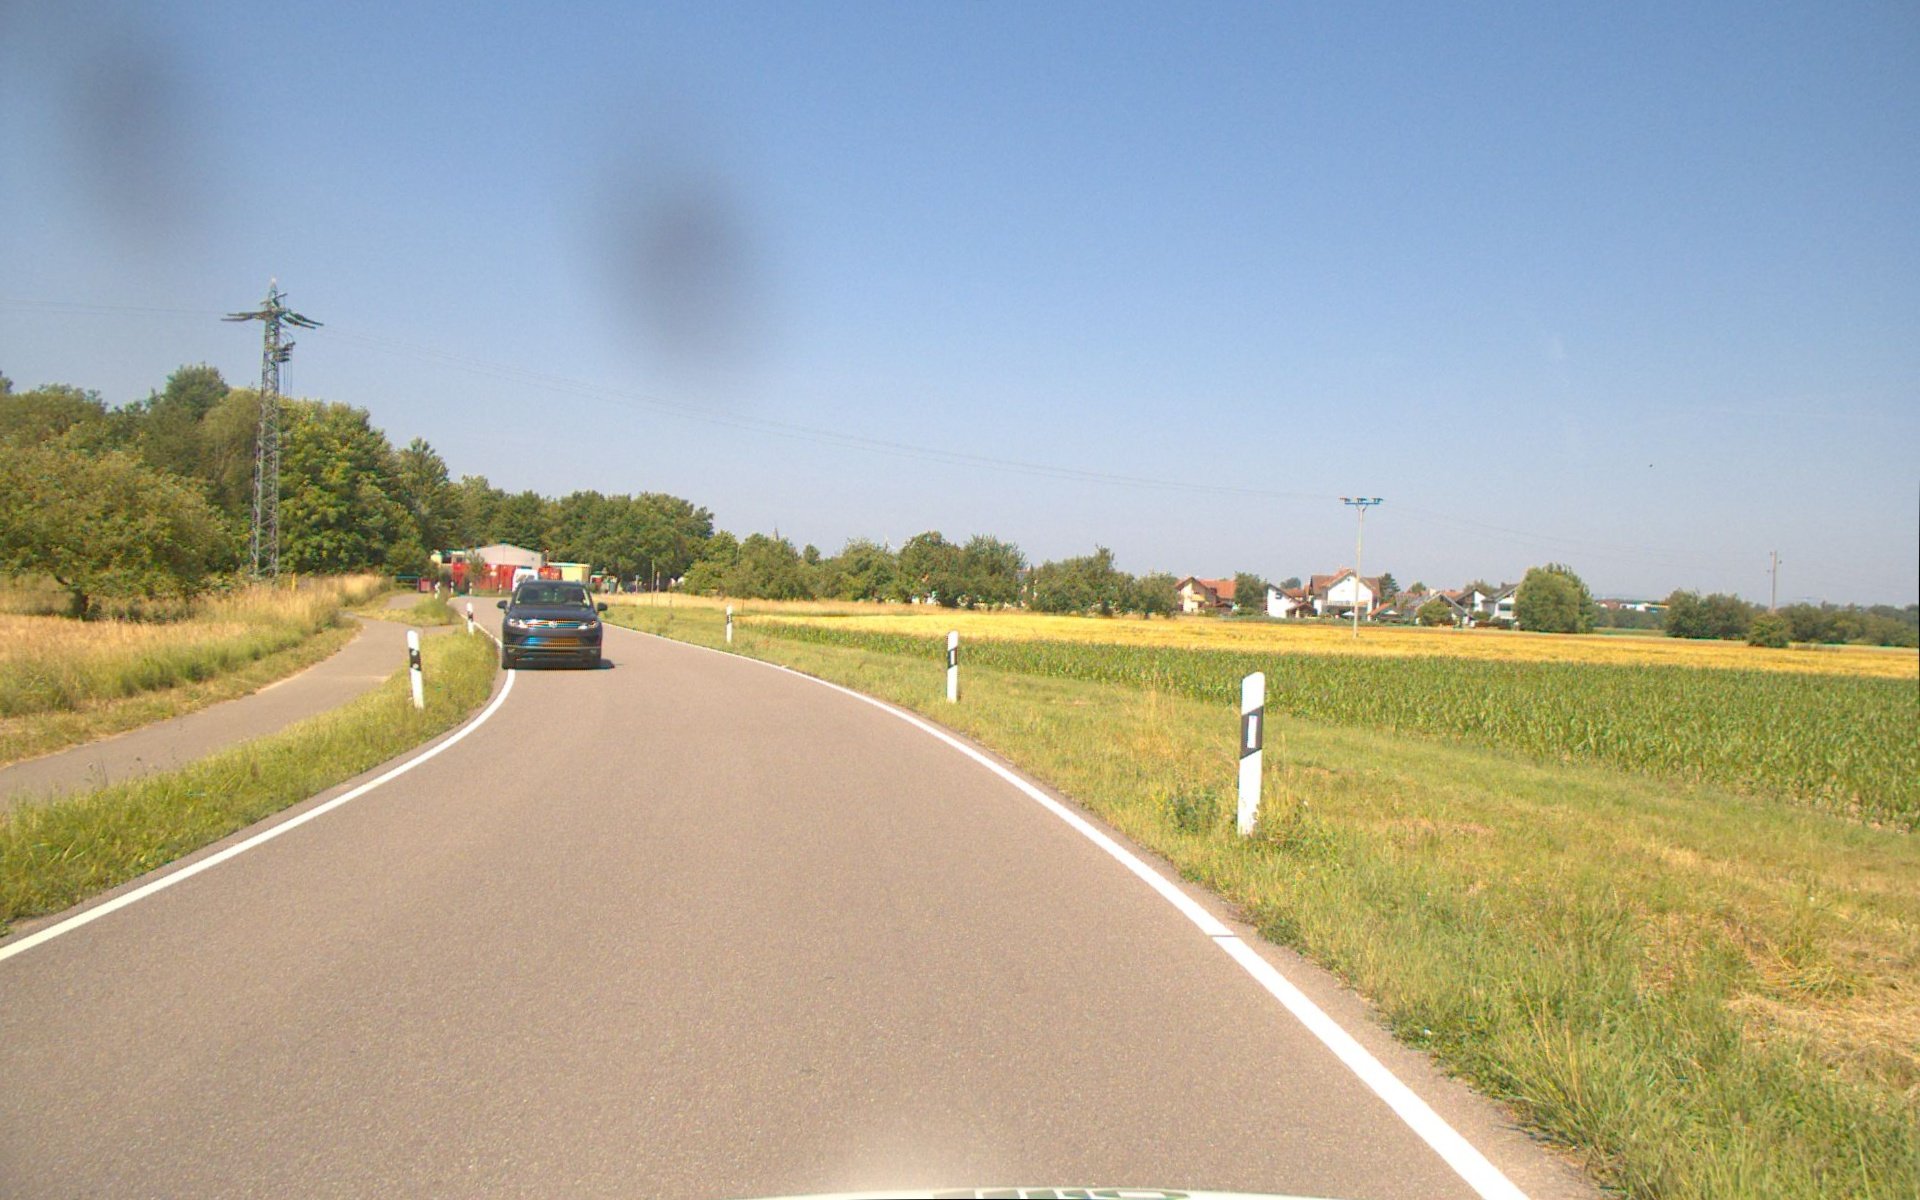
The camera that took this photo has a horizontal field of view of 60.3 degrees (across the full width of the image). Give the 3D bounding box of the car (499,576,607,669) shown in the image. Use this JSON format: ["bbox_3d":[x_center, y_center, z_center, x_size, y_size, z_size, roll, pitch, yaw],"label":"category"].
[{"bbox_3d":[-8.308,0.411,33.558,1.857,1.744,3.995,1,0,-17],"label":"car"}]

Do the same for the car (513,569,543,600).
[{"bbox_3d":[-34.481,-1.244,132.198,1.958,2.305,4.713,2,0,-11],"label":"car"}]
